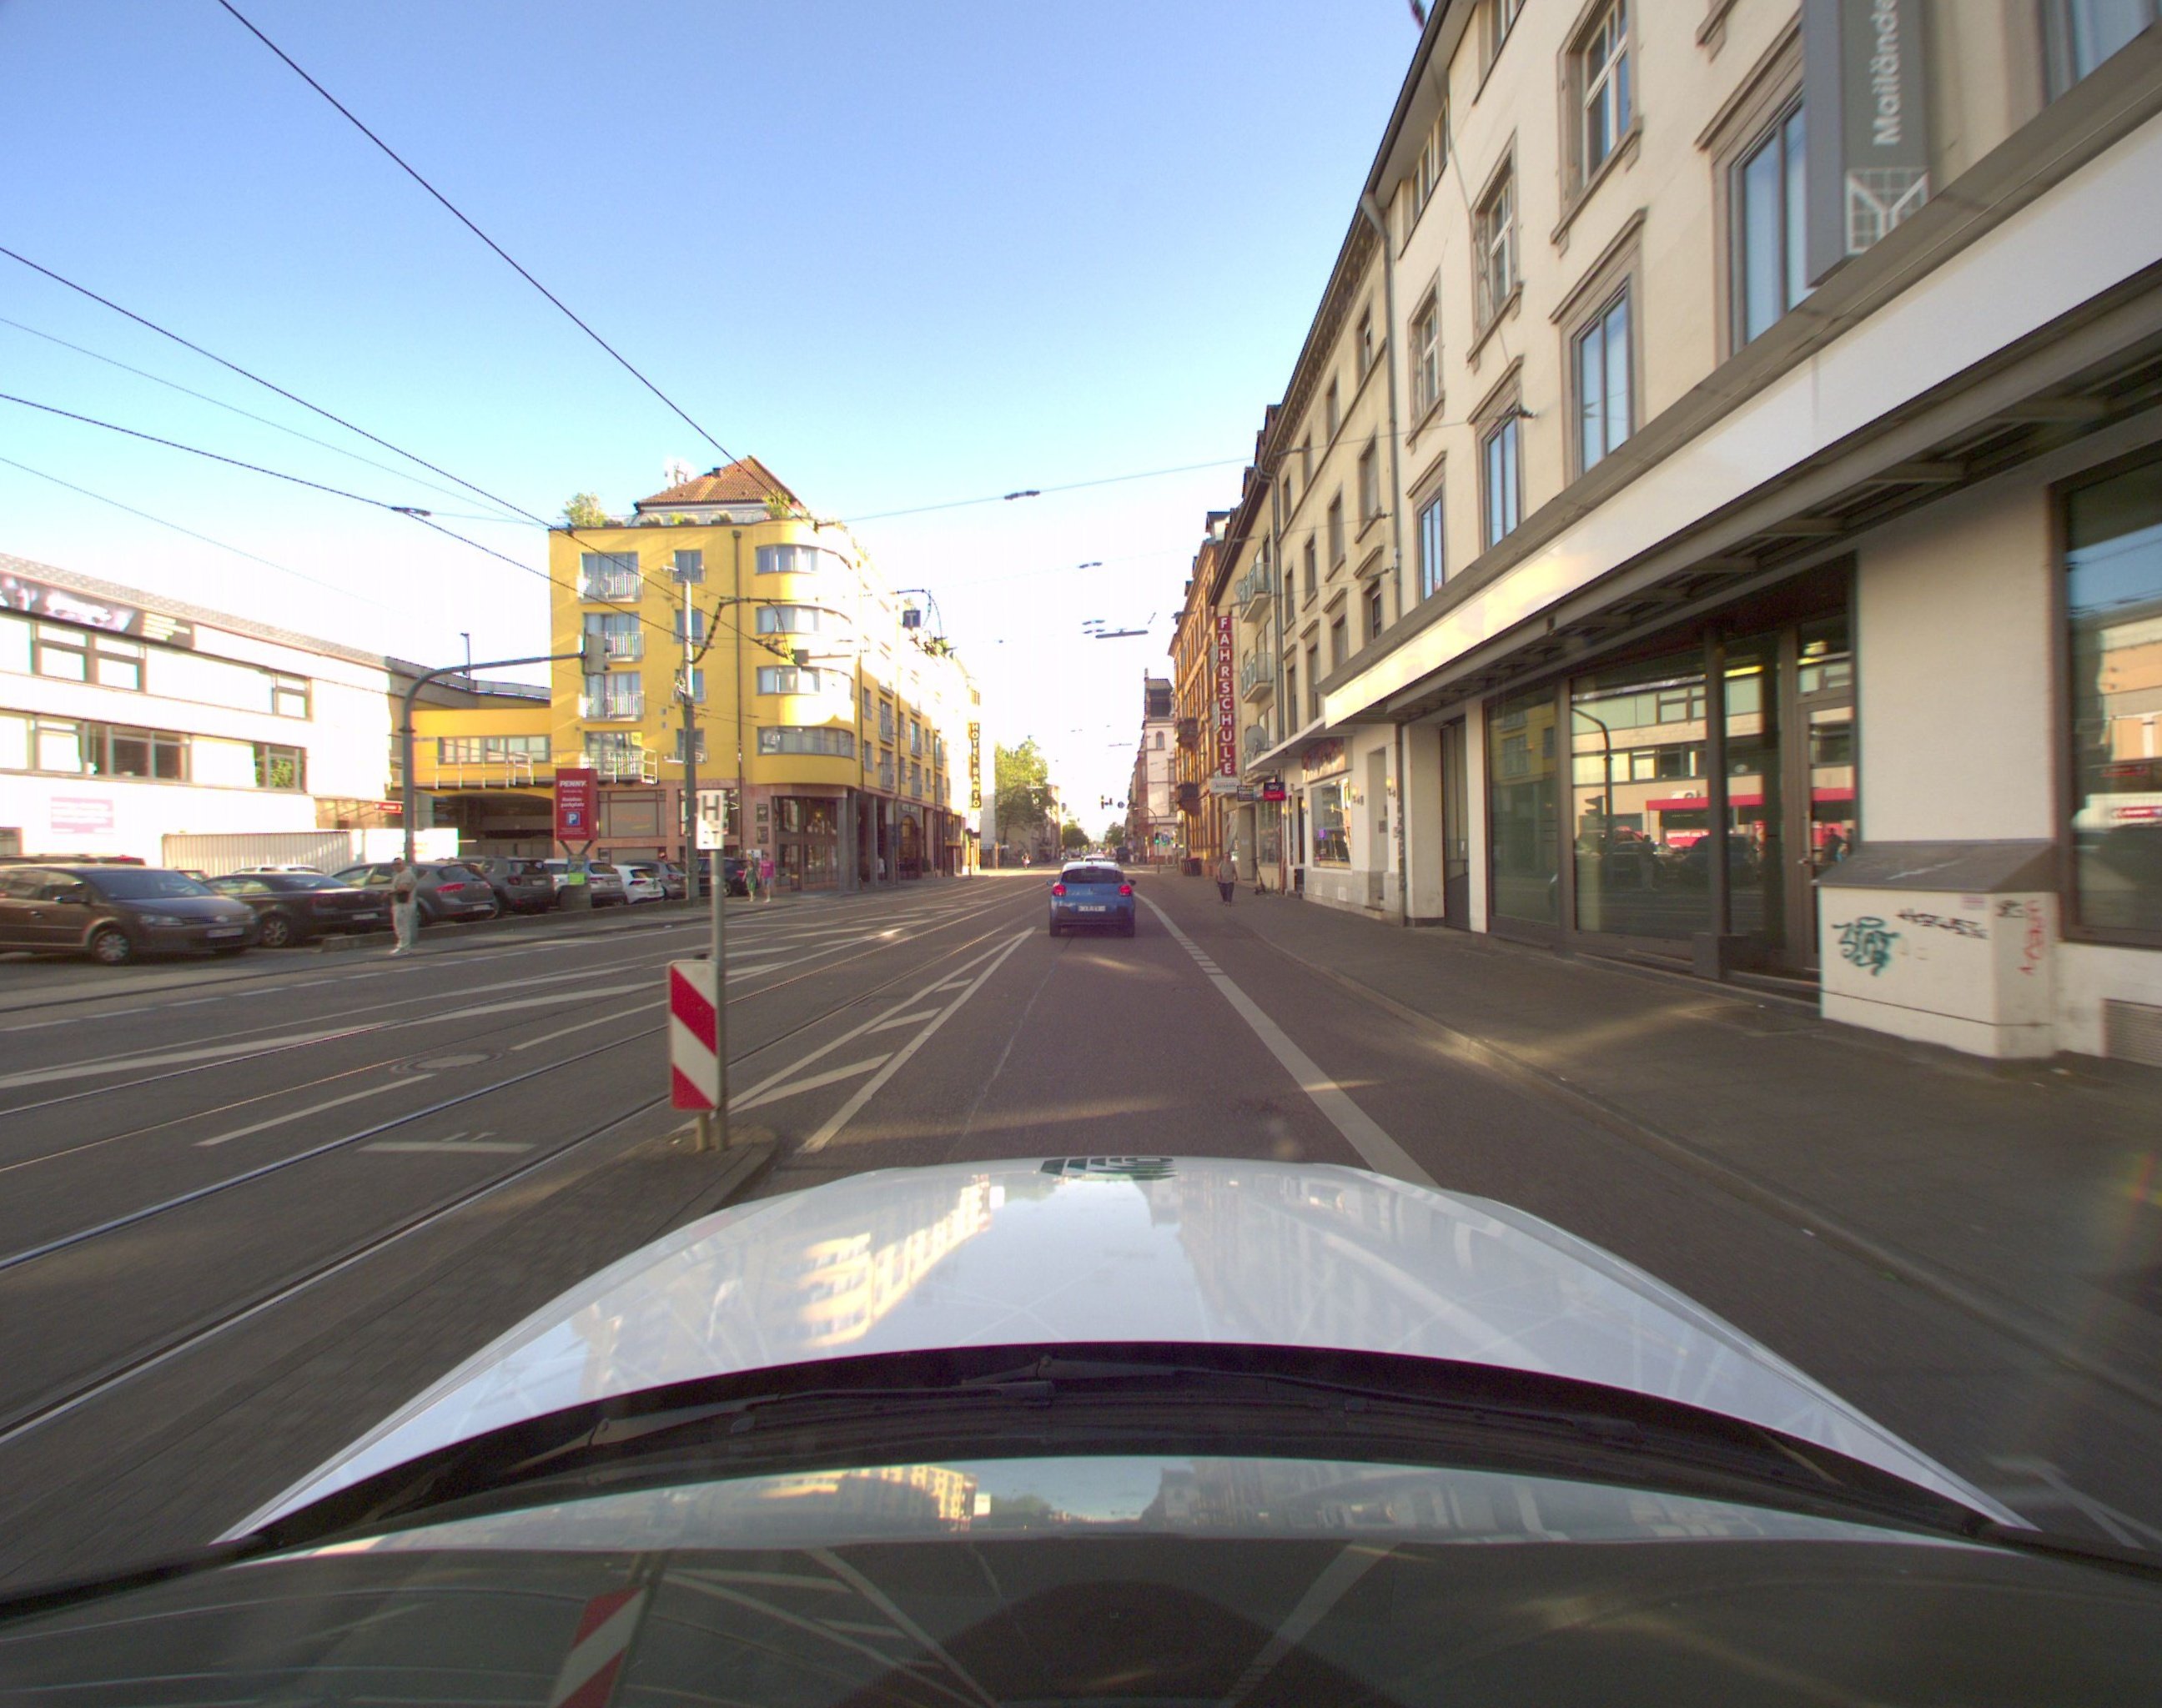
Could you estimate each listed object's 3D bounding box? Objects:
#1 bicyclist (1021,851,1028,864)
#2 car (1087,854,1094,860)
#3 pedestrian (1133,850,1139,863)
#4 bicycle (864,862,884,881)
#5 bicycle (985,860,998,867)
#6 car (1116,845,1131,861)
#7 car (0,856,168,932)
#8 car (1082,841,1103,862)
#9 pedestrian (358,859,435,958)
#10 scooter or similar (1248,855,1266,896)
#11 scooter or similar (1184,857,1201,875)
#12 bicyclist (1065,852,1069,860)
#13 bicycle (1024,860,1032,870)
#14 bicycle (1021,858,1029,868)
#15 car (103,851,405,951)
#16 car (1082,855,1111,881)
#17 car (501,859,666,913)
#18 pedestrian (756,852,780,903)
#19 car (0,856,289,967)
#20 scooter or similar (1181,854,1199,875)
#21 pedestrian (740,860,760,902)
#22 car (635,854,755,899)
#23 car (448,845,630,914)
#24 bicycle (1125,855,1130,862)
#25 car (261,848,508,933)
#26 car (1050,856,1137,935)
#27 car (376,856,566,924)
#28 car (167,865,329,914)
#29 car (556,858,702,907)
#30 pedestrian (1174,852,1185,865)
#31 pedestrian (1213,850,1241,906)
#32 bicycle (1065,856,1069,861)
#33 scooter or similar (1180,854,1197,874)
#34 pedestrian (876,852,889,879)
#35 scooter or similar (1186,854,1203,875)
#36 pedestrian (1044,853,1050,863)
[{"bbox_3d":[-6.262,0.411,90.408,0.722,1.381,1.228,0,0,0],"label":"bicyclist"},{"bbox_3d":[2.816,0.921,236.756,1.987,1.744,4.563,-1,0,0],"label":"car"},{"bbox_3d":[7.518,0.298,110.693,0.703,1.782,0.673,-1,-1,0],"label":"pedestrian"},{"bbox_3d":[-13.733,1.129,53.981,0.578,1.203,2.084,-1,0,6],"label":"bicycle"},{"bbox_3d":[-13.511,1.423,123.060,1.898,1.034,0.669,-1,0,27],"label":"bicycle"},{"bbox_3d":[6.809,-0.171,130.488,2.263,2.436,5.722,-1,0,1],"label":"car"},{"bbox_3d":[-25.363,0.971,20.133,3.567,1.748,1.695,-1,0,-1],"label":"car"},{"bbox_3d":[1.123,-0.234,81.474,1.987,2.013,4.000,-2,0,0],"label":"car"},{"bbox_3d":[-12.569,0.984,14.978,0.712,1.764,0.779,1,0,-5],"label":"pedestrian"},{"bbox_3d":[5.712,0.673,26.398,0.407,1.281,1.289,-3,-1,18],"label":"scooter or similar"},{"bbox_3d":[6.669,0.723,48.732,0.788,0.957,0.680,-5,0,0],"label":"scooter or similar"},{"bbox_3d":[-2.725,0.360,160.587,0.680,1.483,0.778,-1,0,0],"label":"bicyclist"},{"bbox_3d":[-6.418,1.333,98.340,0.728,1.065,2.061,-1,0,0],"label":"bicycle"},{"bbox_3d":[-6.253,1.033,90.480,0.728,1.088,2.061,-1,0,0],"label":"bicycle"},{"bbox_3d":[-16.371,0.888,16.280,4.218,1.812,1.786,-1,0,1],"label":"car"},{"bbox_3d":[0.938,0.825,50.572,1.661,1.478,4.000,-2,0,0],"label":"car"},{"bbox_3d":[-16.093,1.003,26.487,4.218,1.609,1.786,-1,0,1],"label":"car"},{"bbox_3d":[-12.184,0.906,31.709,0.635,1.946,0.709,-1,0,0],"label":"pedestrian"},{"bbox_3d":[-16.575,0.937,13.976,4.218,1.763,1.786,0,0,1],"label":"car"},{"bbox_3d":[6.612,0.645,49.475,0.930,1.148,0.650,-5,0,0],"label":"scooter or similar"},{"bbox_3d":[-12.943,1.041,31.860,0.570,1.617,0.499,-1,0,0],"label":"pedestrian"},{"bbox_3d":[-16.387,0.939,34.744,4.218,1.812,1.786,-1,0,1],"label":"car"},{"bbox_3d":[-16.097,0.772,24.315,4.218,1.812,1.785,-2,-2,1],"label":"car"},{"bbox_3d":[6.255,0.609,110.319,0.430,0.947,1.760,-1,0,-6],"label":"bicycle"},{"bbox_3d":[-16.166,0.810,19.054,4.217,1.812,1.786,-1,0,1],"label":"car"},{"bbox_3d":[0.252,0.798,17.537,1.668,1.477,4.000,0,0,0],"label":"car"},{"bbox_3d":[-16.075,0.919,21.589,3.675,1.672,1.786,-1,0,1],"label":"car"},{"bbox_3d":[-27.715,1.159,27.184,3.567,1.479,1.695,-1,0,-1],"label":"car"},{"bbox_3d":[-16.225,1.037,29.374,4.218,1.548,1.785,-2,-2,1],"label":"car"},{"bbox_3d":[10.550,0.487,87.384,0.938,1.457,0.820,-1,0,-11],"label":"pedestrian"},{"bbox_3d":[4.225,0.682,23.622,0.646,1.560,0.781,-1,0,0],"label":"pedestrian"},{"bbox_3d":[-2.714,0.888,160.594,0.690,1.120,2.084,-1,0,1],"label":"bicycle"},{"bbox_3d":[6.640,0.628,50.485,0.894,1.148,0.547,-5,0,-1],"label":"scooter or similar"},{"bbox_3d":[-13.033,0.763,53.523,0.558,1.770,0.724,-1,0,6],"label":"pedestrian"},{"bbox_3d":[6.676,0.637,47.840,0.788,1.148,0.790,-5,0,0],"label":"scooter or similar"},{"bbox_3d":[-5.864,0.641,139.709,0.678,1.765,1.029,-1,0,12],"label":"pedestrian"}]
